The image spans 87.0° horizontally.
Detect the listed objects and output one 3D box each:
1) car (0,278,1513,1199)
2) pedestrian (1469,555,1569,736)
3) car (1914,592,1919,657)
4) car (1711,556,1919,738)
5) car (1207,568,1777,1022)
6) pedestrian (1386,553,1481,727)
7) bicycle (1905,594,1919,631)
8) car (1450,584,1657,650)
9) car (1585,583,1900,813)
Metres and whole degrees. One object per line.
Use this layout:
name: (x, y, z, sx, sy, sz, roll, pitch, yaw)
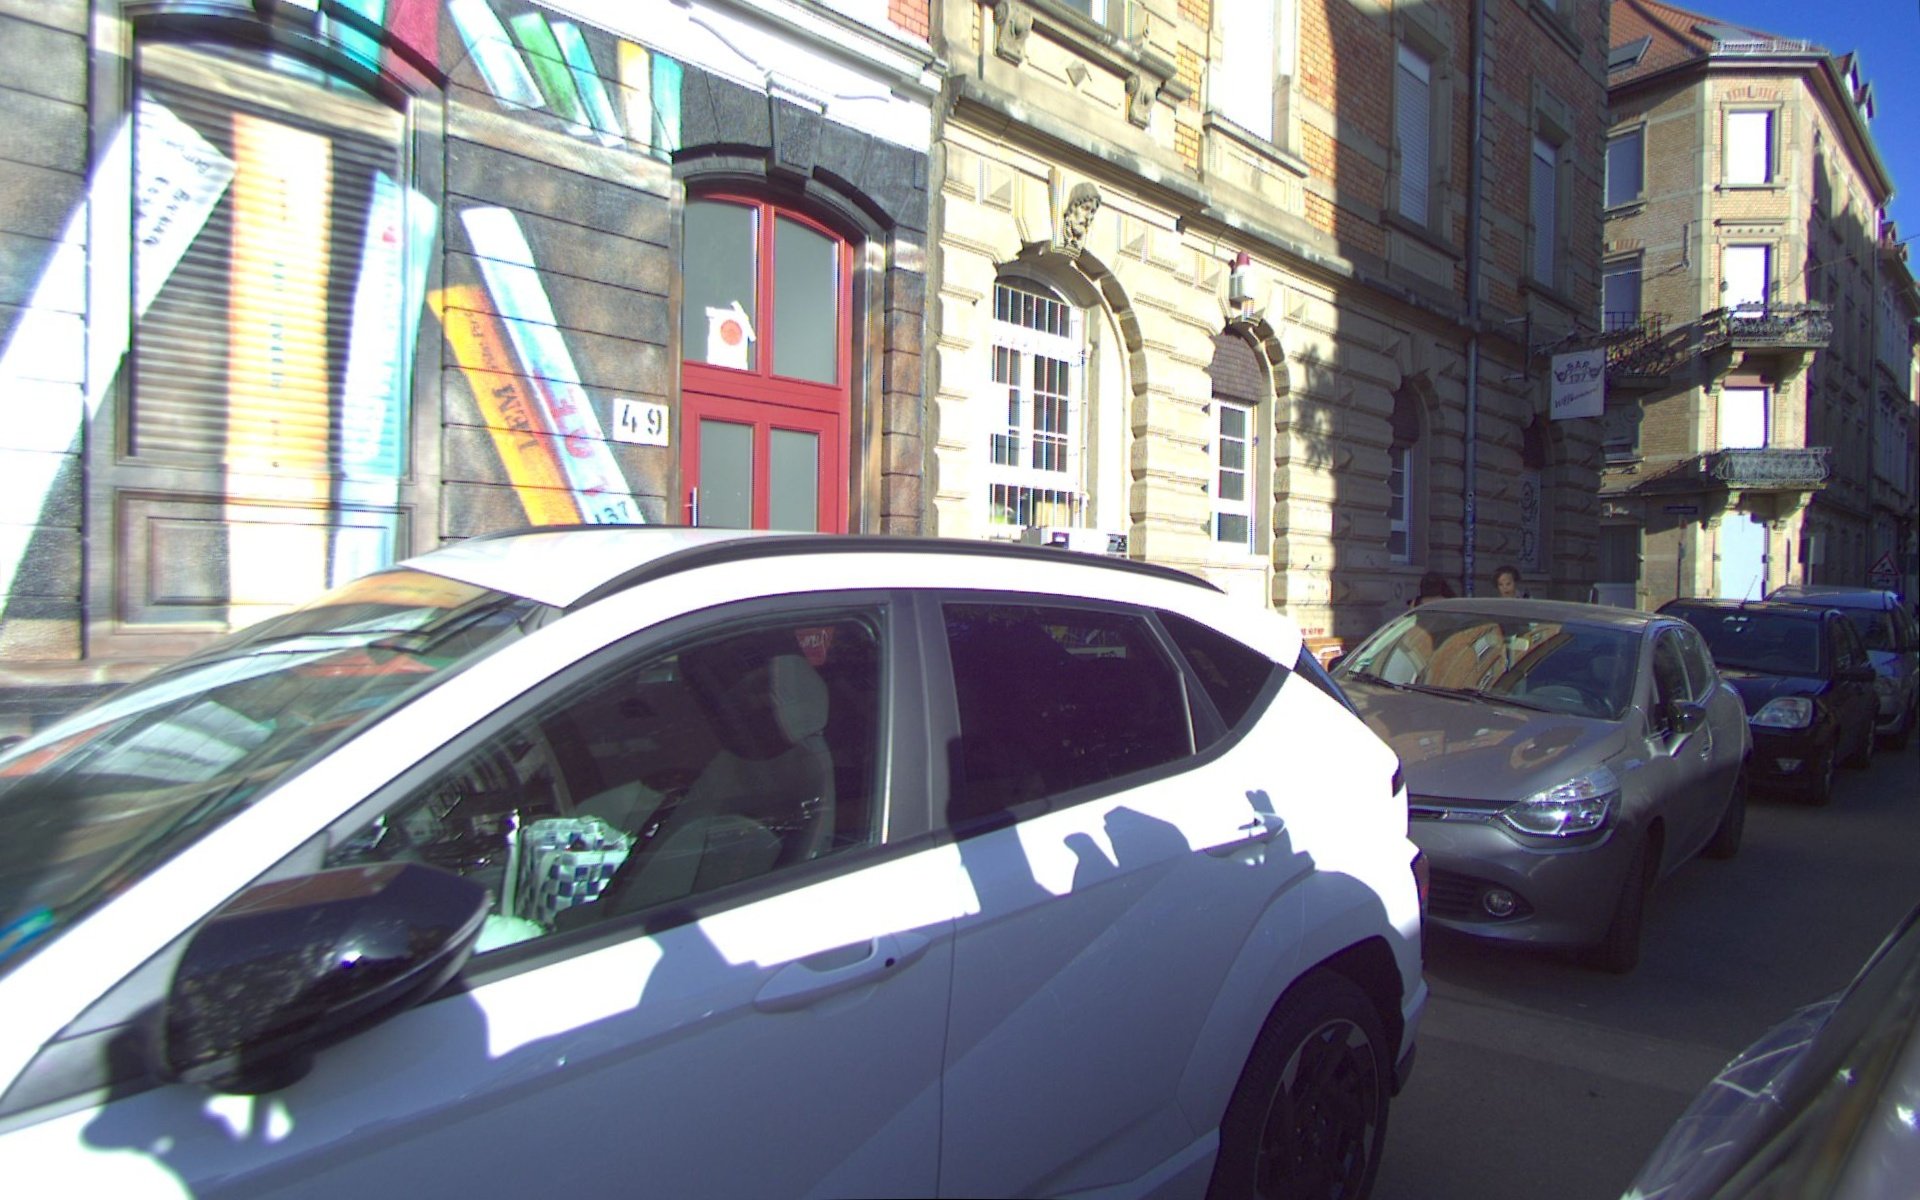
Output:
car: (-0.822, 0.621, 1.843, 4.140, 1.711, 1.811, -1, -1, -40)
pedestrian: (5.267, 0.401, 9.529, 0.715, 1.624, 0.591, 1, 1, -43)
car: (23.935, 0.538, 23.803, 4.432, 1.477, 1.709, 0, -1, -41)
car: (10.093, 0.422, 11.571, 3.871, 1.735, 1.706, 0, 1, -43)
car: (3.048, 0.676, 5.385, 3.844, 1.545, 1.572, 0, -2, -45)
pedestrian: (4.683, 0.371, 10.005, 0.722, 1.642, 0.575, 1, 1, -43)
bicycle: (35.248, 0.453, 37.018, 1.662, 1.319, 0.729, 0, 4, -40)
car: (14.924, 0.361, 25.585, 4.241, 1.489, 1.741, 2, 1, 44)
car: (6.792, 0.652, 8.658, 3.619, 1.532, 1.537, 0, 1, -43)
